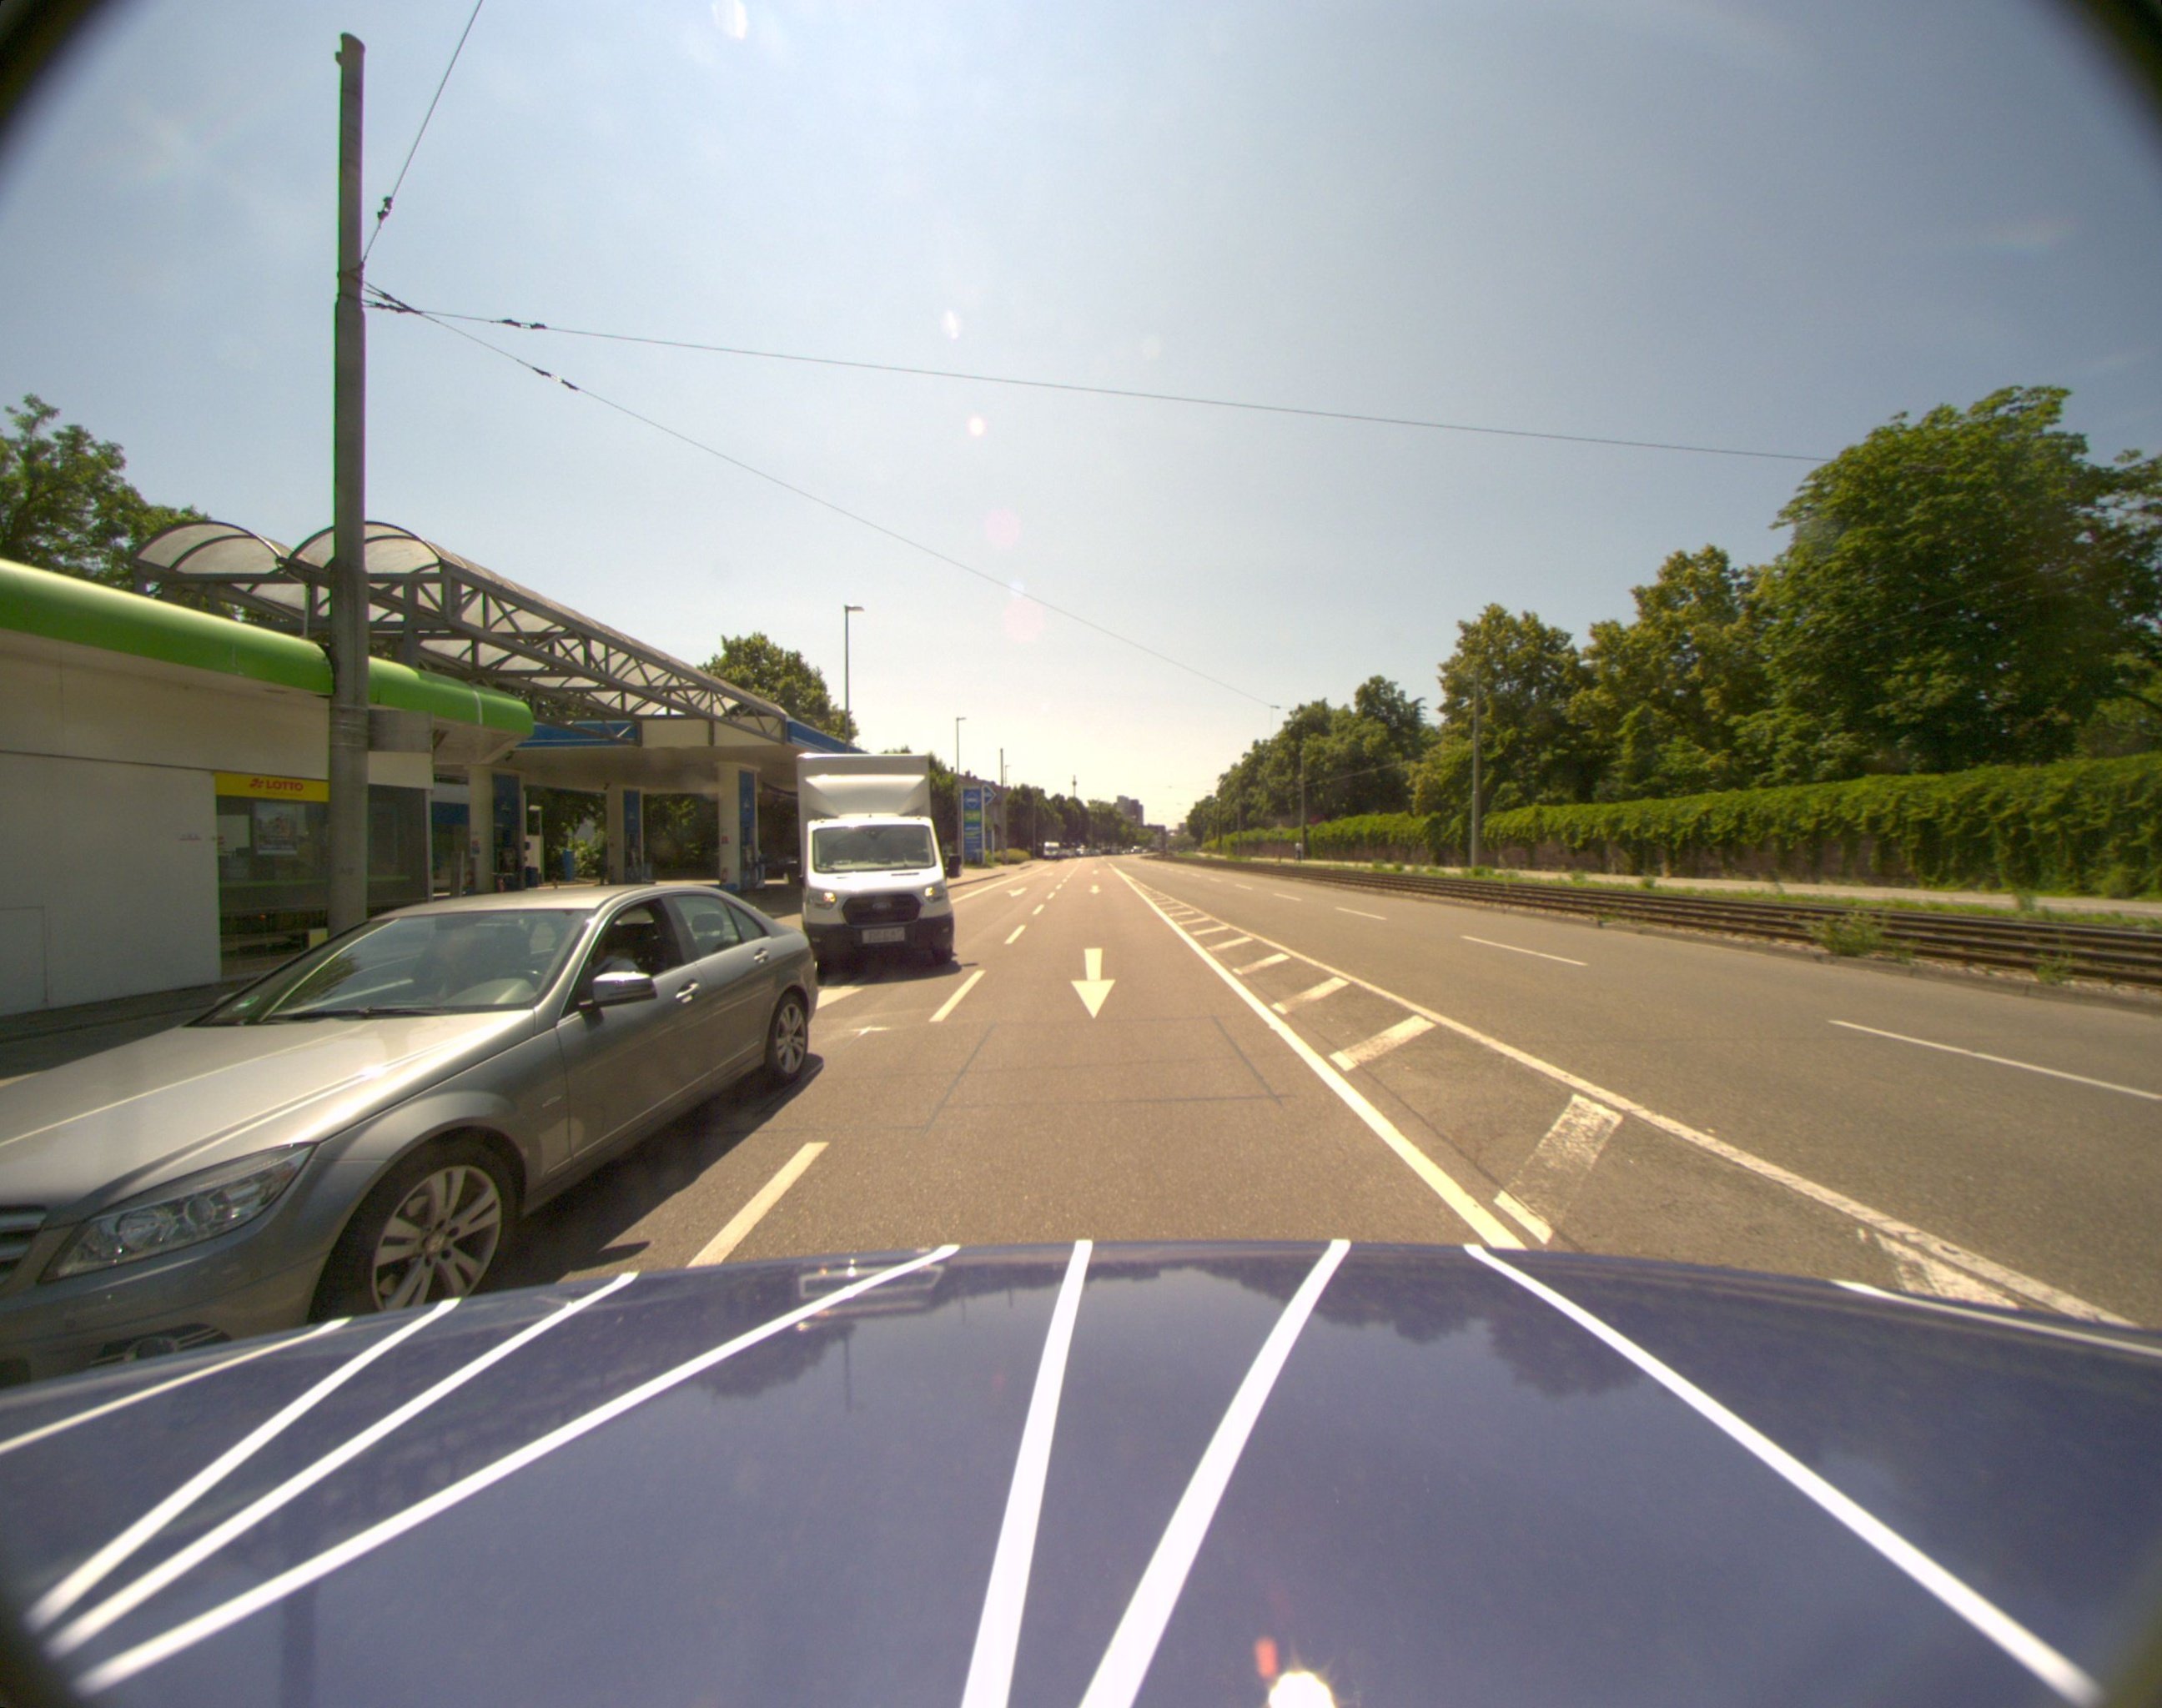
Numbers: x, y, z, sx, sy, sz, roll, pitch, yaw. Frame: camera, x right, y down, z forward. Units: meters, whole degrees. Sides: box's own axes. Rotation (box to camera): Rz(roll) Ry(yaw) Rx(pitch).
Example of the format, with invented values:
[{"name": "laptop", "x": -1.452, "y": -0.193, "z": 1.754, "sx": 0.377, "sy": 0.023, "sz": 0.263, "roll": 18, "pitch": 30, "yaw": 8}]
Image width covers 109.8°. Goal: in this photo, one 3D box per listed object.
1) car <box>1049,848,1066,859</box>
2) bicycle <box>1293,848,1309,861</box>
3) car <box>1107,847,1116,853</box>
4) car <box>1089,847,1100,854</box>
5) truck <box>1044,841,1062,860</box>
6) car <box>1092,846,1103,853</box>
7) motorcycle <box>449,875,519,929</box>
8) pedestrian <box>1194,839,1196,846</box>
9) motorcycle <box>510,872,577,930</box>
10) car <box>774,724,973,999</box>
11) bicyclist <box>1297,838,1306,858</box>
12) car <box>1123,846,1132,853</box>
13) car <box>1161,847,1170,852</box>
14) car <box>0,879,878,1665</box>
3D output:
[{"name": "car", "x": -3.413, "y": -0.132, "z": 111.067, "sx": 1.912, "sy": 1.488, "sz": 4.000, "roll": -2, "pitch": 1, "yaw": 4}, {"name": "bicycle", "x": 18.307, "y": 0.059, "z": 63.280, "sx": 0.618, "sy": 1.049, "sz": 1.977, "roll": -2, "pitch": 1, "yaw": -2}, {"name": "car", "x": 8.171, "y": -1.154, "z": 205.345, "sx": 1.911, "sy": 1.488, "sz": 4.002, "roll": -2, "pitch": 1, "yaw": 10}, {"name": "car", "x": 3.064, "y": -0.878, "z": 174.380, "sx": 1.911, "sy": 1.488, "sz": 4.002, "roll": -2, "pitch": 1, "yaw": 10}, {"name": "truck", "x": -3.759, "y": -0.480, "z": 103.415, "sx": 1.998, "sy": 2.462, "sz": 5.236, "roll": -2, "pitch": 1, "yaw": 1}, {"name": "car", "x": 4.002, "y": -1.003, "z": 179.217, "sx": 1.911, "sy": 1.488, "sz": 4.002, "roll": -2, "pitch": 1, "yaw": 10}, {"name": "motorcycle", "x": -12.836, "y": 1.022, "z": 16.349, "sx": 1.157, "sy": 1.107, "sz": 0.396, "roll": 1, "pitch": 0, "yaw": -1}, {"name": "pedestrian", "x": 27.528, "y": -2.871, "z": 183.672, "sx": 0.453, "sy": 1.655, "sz": 0.302, "roll": -2, "pitch": 0, "yaw": 1}, {"name": "motorcycle", "x": -11.591, "y": 1.007, "z": 16.400, "sx": 1.157, "sy": 1.203, "sz": 0.364, "roll": 1, "pitch": 0, "yaw": -1}, {"name": "car", "x": -3.820, "y": 0.039, "z": 13.619, "sx": 2.232, "sy": 3.316, "sz": 8.622, "roll": -3, "pitch": 1, "yaw": -17}, {"name": "bicyclist", "x": 18.299, "y": -0.505, "z": 63.144, "sx": 0.483, "sy": 1.603, "sz": 0.768, "roll": -2, "pitch": 2, "yaw": -3}, {"name": "car", "x": 12.252, "y": -1.273, "z": 198.397, "sx": 1.946, "sy": 1.674, "sz": 4.002, "roll": -2, "pitch": 1, "yaw": 9}, {"name": "car", "x": 27.758, "y": -1.516, "z": 249.479, "sx": 1.799, "sy": 1.488, "sz": 3.969, "roll": -2, "pitch": 0, "yaw": 22}, {"name": "car", "x": -2.844, "y": 1.014, "z": 4.281, "sx": 1.717, "sy": 1.464, "sz": 5.302, "roll": -3, "pitch": 0, "yaw": 2}]
